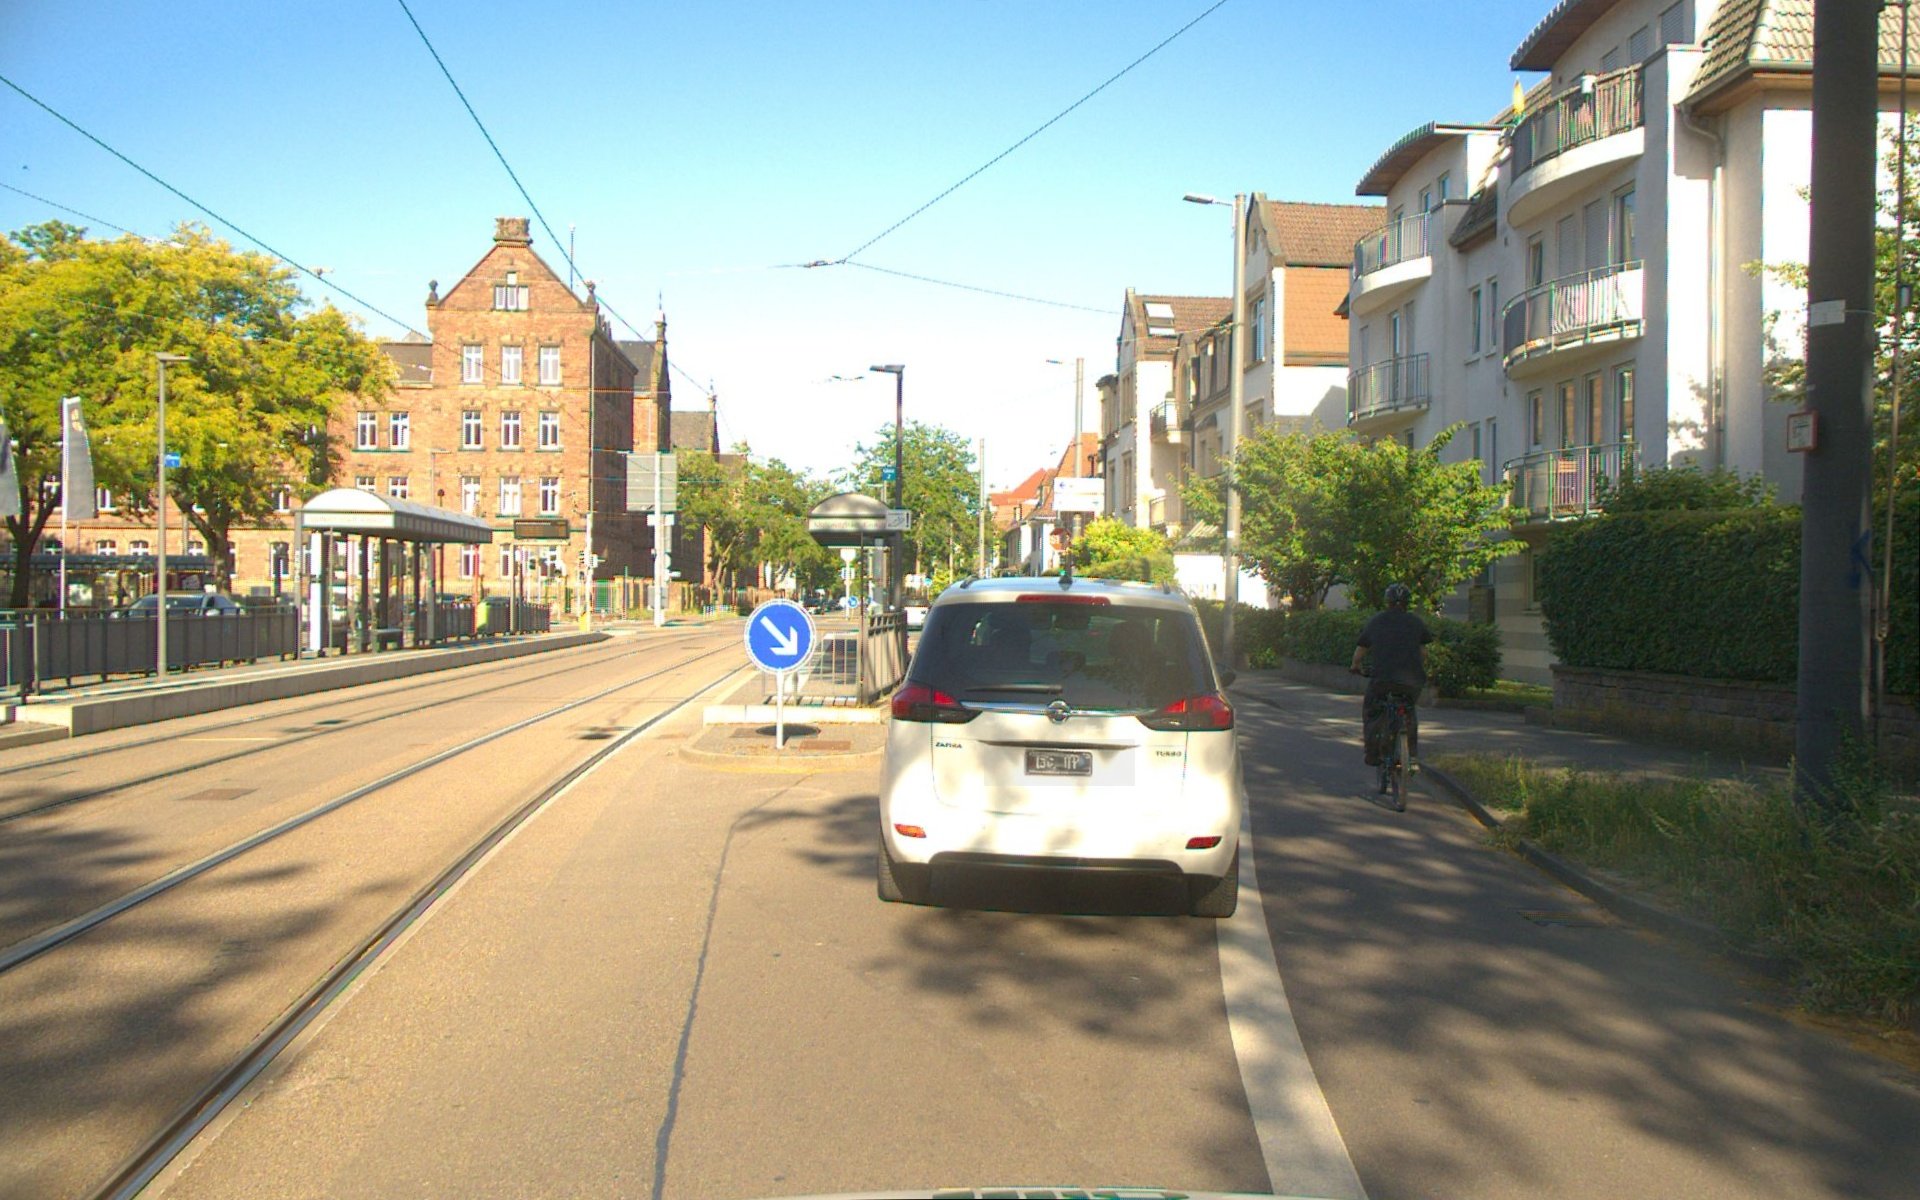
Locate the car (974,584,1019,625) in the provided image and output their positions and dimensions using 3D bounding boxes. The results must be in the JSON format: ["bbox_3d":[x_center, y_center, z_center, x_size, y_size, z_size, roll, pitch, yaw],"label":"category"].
[{"bbox_3d":[1.522,0.215,70.451,1.740,1.660,3.879,1,0,-1],"label":"car"}]

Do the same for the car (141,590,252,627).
[{"bbox_3d":[-33.781,0.389,73.243,3.982,1.548,1.877,1,-1,-2],"label":"car"}]

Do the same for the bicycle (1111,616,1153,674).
[{"bbox_3d":[3.626,0.940,34.958,0.671,1.177,1.619,1,0,-1],"label":"bicycle"}]

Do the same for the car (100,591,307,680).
[{"bbox_3d":[-14.327,0.617,31.640,1.844,1.439,4.625,0,2,0],"label":"car"}]

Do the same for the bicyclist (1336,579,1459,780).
[{"bbox_3d":[3.472,0.613,13.189,0.804,1.528,0.935,1,-1,7],"label":"bicyclist"}]

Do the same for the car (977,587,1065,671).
[{"bbox_3d":[1.246,0.603,35.424,1.739,1.660,3.880,1,0,0],"label":"car"}]

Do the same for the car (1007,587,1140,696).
[{"bbox_3d":[1.820,0.662,27.637,1.740,1.660,3.878,1,0,-3],"label":"car"}]

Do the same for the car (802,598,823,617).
[{"bbox_3d":[-13.739,0.683,154.247,1.868,1.706,4.355,1,0,-3],"label":"car"}]

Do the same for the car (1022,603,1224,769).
[{"bbox_3d":[1.517,0.769,16.619,1.554,1.445,3.899,0,0,-1],"label":"car"}]

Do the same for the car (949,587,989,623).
[{"bbox_3d":[0.382,0.245,77.869,1.740,1.660,3.879,1,0,-1],"label":"car"}]

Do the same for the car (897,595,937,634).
[{"bbox_3d":[-1.950,0.645,75.711,1.740,1.722,3.879,1,0,-1],"label":"car"}]

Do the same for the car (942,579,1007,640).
[{"bbox_3d":[0.370,0.271,47.220,1.740,1.660,3.879,1,0,-1],"label":"car"}]

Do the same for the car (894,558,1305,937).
[{"bbox_3d":[0.553,0.676,9.338,1.798,1.671,3.916,1,0,-3],"label":"car"}]

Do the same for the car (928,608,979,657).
[{"bbox_3d":[-0.257,1.140,58.892,1.740,1.660,3.880,1,0,-1],"label":"car"}]

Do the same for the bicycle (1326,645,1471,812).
[{"bbox_3d":[3.464,0.974,13.236,0.812,1.175,2.096,1,0,7],"label":"bicycle"}]

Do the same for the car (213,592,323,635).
[{"bbox_3d":[-28.503,0.554,68.199,3.780,1.689,1.750,1,-1,-2],"label":"car"}]

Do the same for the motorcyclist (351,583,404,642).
[{"bbox_3d":[-15.754,0.337,44.749,1.103,1.552,1.053,1,-1,-7],"label":"motorcyclist"}]

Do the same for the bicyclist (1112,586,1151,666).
[{"bbox_3d":[3.630,0.554,35.034,0.672,1.663,1.015,1,-1,-1],"label":"bicyclist"}]

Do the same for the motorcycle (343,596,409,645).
[{"bbox_3d":[-15.746,0.536,44.659,1.108,1.265,2.569,1,0,-7],"label":"motorcycle"}]
